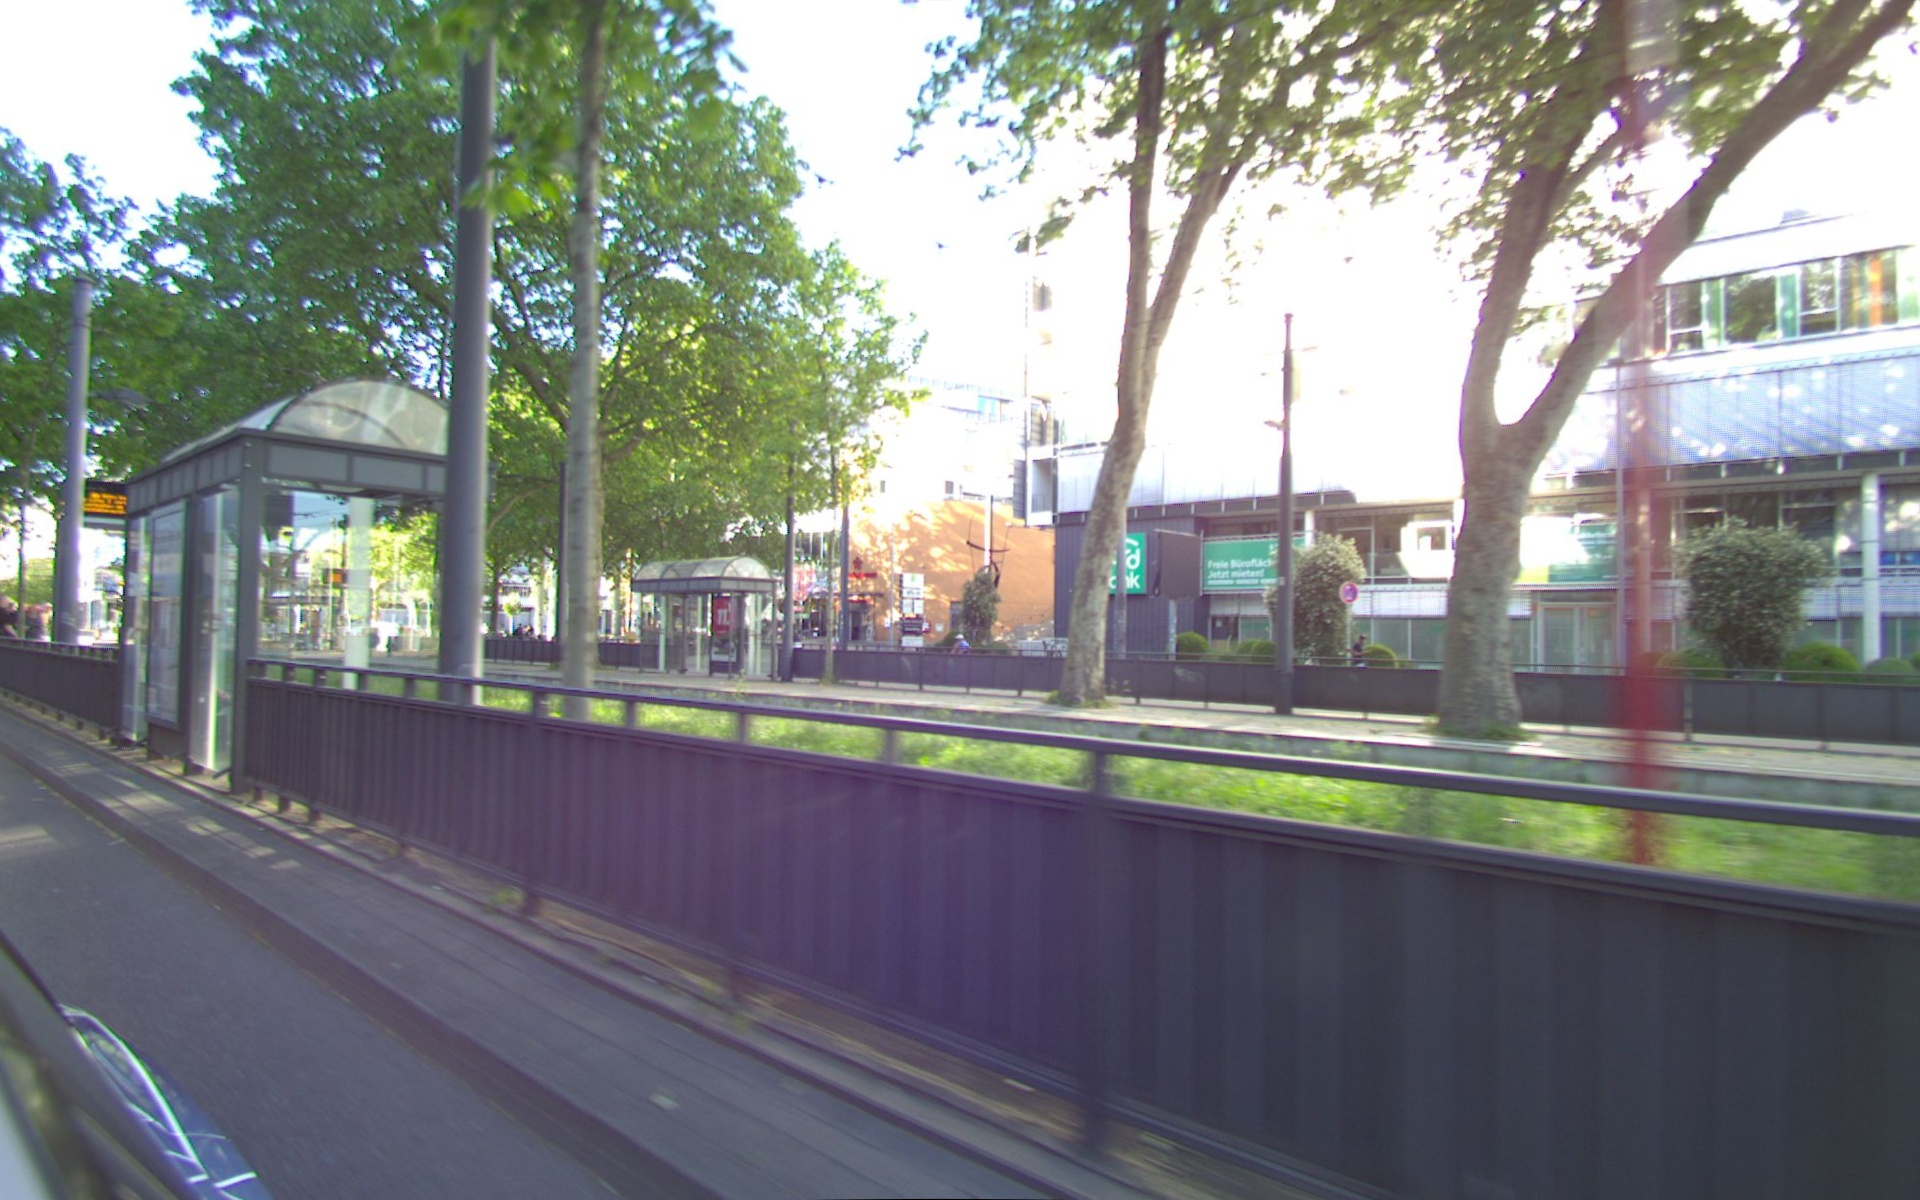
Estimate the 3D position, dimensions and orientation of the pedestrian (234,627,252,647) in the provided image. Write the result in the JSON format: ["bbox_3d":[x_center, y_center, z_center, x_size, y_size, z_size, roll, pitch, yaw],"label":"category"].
[{"bbox_3d":[-38.761,2.015,54.729,0.713,1.048,0.699,2,-3,-42],"label":"pedestrian"}]

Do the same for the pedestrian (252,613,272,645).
[{"bbox_3d":[-33.059,1.356,47.947,0.549,1.509,0.549,-1,-2,29],"label":"pedestrian"}]

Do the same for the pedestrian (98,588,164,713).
[{"bbox_3d":[-12.951,0.771,15.813,0.753,1.886,0.638,-1,-2,41],"label":"pedestrian"}]

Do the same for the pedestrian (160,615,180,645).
[{"bbox_3d":[-44.720,1.708,57.279,0.697,1.709,0.678,-1,-2,32],"label":"pedestrian"}]

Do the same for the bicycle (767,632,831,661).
[{"bbox_3d":[-5.916,1.689,37.150,2.582,1.004,0.793,-1,-1,38],"label":"bicycle"}]

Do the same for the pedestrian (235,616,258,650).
[{"bbox_3d":[-34.951,1.623,49.566,0.666,1.654,0.662,0,-2,29],"label":"pedestrian"}]

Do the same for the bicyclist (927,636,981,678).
[{"bbox_3d":[-0.197,1.786,31.945,1.372,1.259,0.994,-1,-1,38],"label":"bicyclist"}]

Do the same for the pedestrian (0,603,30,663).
[{"bbox_3d":[-29.866,1.047,31.939,0.638,1.853,0.640,-1,-3,40],"label":"pedestrian"}]

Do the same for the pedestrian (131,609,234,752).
[{"bbox_3d":[-7.595,0.760,9.882,0.801,1.329,0.620,-1,-3,41],"label":"pedestrian"}]

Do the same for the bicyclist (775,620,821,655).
[{"bbox_3d":[-5.943,1.361,37.184,1.372,1.259,0.994,-1,-1,38],"label":"bicyclist"}]

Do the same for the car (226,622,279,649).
[{"bbox_3d":[-47.047,2.358,67.261,3.999,1.652,1.972,-1,-3,42],"label":"car"}]

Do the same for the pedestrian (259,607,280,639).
[{"bbox_3d":[-32.336,1.093,47.371,0.605,1.497,0.566,-1,-2,29],"label":"pedestrian"}]

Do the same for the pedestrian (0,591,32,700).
[{"bbox_3d":[-17.092,0.806,18.063,0.661,1.901,0.639,-1,-3,40],"label":"pedestrian"}]

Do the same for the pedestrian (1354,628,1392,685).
[{"bbox_3d":[11.905,1.610,29.172,0.767,1.604,0.896,-1,-3,40],"label":"pedestrian"}]

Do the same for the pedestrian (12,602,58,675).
[{"bbox_3d":[-22.224,0.914,24.307,0.862,1.715,0.721,-1,-2,42],"label":"pedestrian"}]

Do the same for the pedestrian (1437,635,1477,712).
[{"bbox_3d":[13.327,1.950,27.124,0.833,1.991,0.599,-1,-2,38],"label":"pedestrian"}]

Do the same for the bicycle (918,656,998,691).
[{"bbox_3d":[-0.084,2.300,31.850,2.582,1.004,0.793,-1,-1,38],"label":"bicycle"}]

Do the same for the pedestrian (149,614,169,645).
[{"bbox_3d":[-45.511,1.664,57.522,0.674,1.767,0.649,-1,-2,32],"label":"pedestrian"}]
